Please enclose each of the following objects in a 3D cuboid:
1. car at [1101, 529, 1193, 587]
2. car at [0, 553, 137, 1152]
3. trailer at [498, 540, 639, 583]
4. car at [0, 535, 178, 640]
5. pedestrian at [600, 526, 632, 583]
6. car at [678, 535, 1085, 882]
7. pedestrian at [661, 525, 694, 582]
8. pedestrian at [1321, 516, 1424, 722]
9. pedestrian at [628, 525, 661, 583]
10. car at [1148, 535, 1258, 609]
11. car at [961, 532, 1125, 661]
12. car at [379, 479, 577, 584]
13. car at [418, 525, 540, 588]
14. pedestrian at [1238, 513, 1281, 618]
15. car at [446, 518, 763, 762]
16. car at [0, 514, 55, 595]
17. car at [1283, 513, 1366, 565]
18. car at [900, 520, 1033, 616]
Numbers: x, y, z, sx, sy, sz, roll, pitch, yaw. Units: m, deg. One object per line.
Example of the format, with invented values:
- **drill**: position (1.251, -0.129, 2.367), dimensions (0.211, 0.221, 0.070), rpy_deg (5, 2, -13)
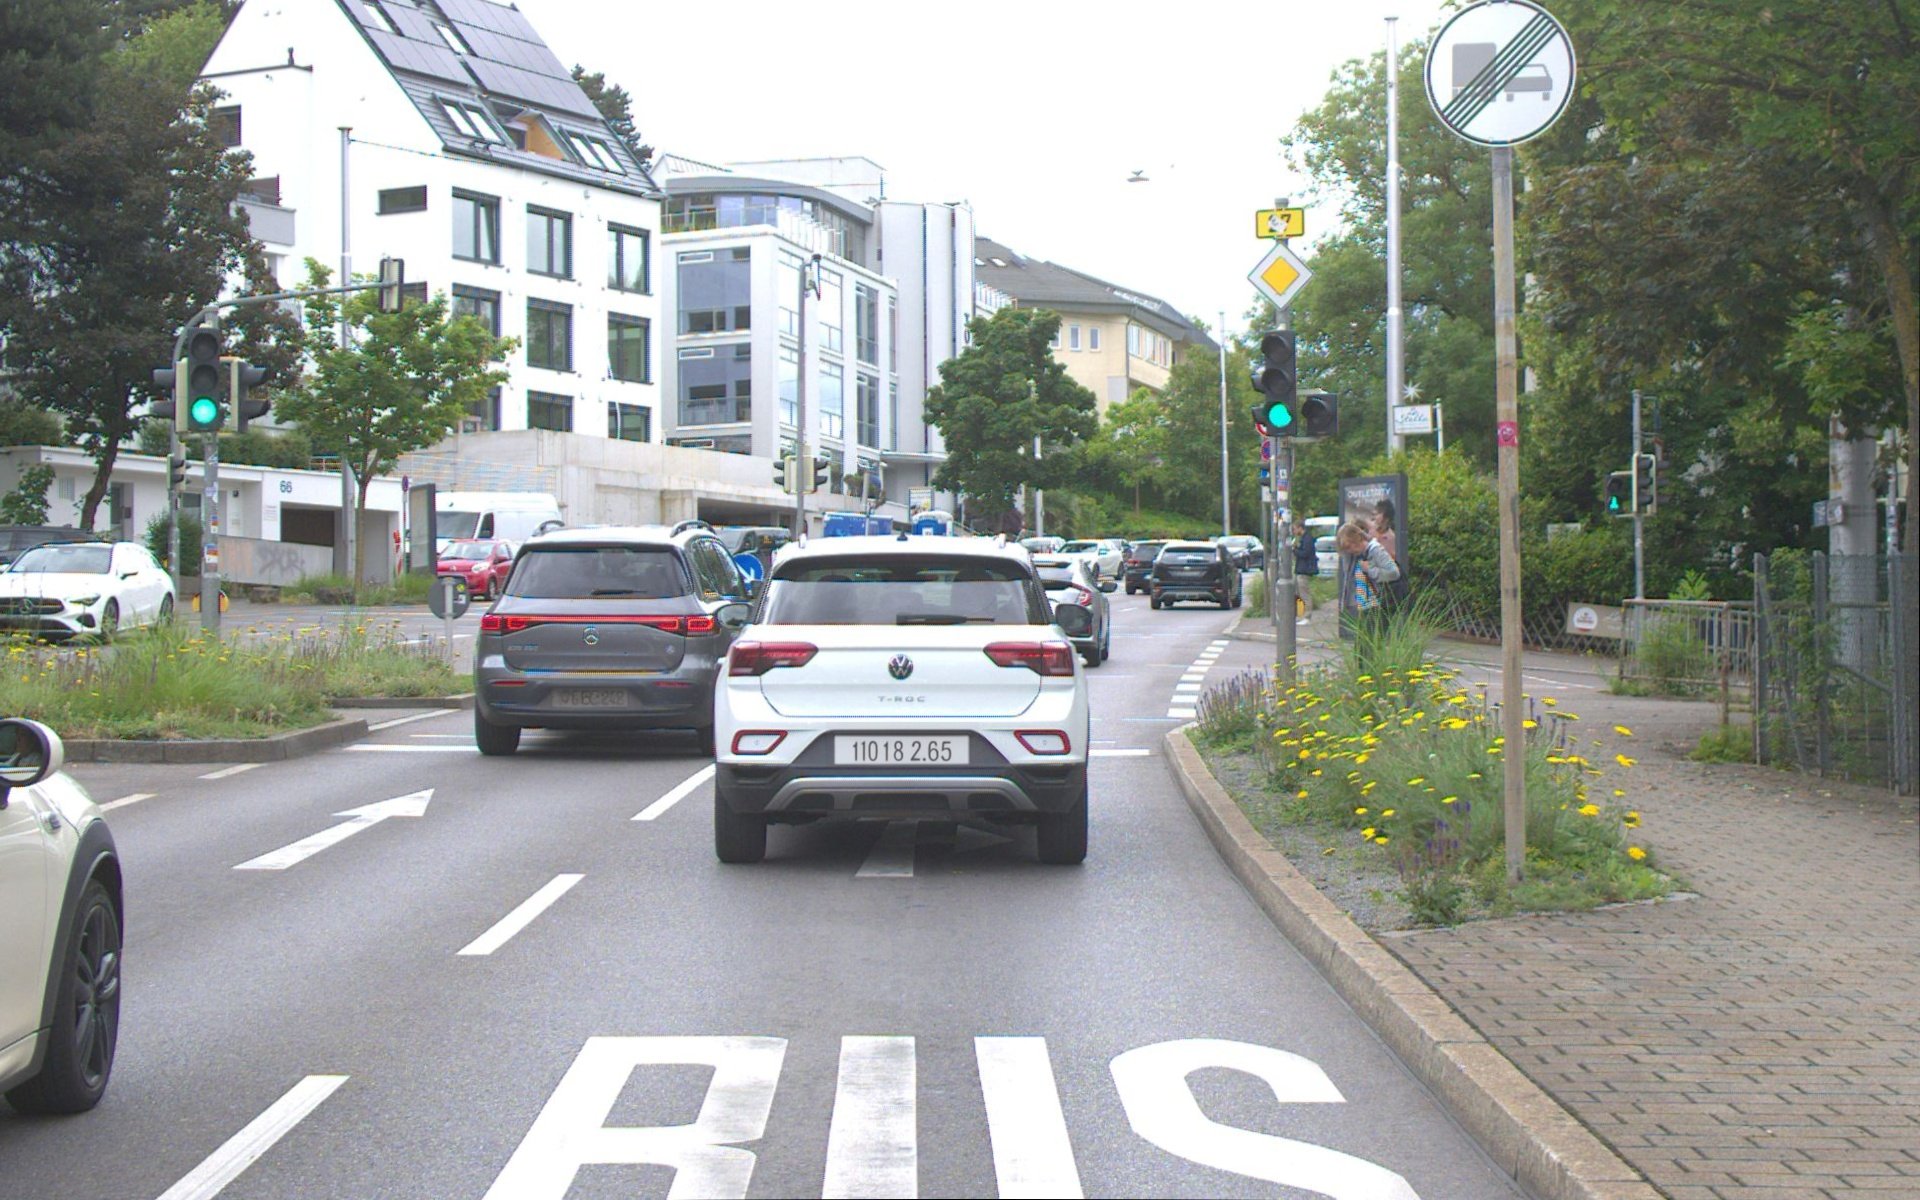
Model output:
- **car**: position (5.041, -1.143, 92.097), dimensions (1.859, 1.495, 4.054), rpy_deg (0, 1, 12)
- **car**: position (-3.057, 0.611, 7.597), dimensions (1.628, 1.388, 3.566), rpy_deg (-1, 1, 0)
- **trailer**: position (-10.627, -1.063, 93.627), dimensions (2.248, 1.108, 4.619), rpy_deg (0, 1, 15)
- **car**: position (-12.312, -0.209, 47.931), dimensions (1.717, 1.388, 4.609), rpy_deg (0, 1, 1)
- **pedestrian**: position (-9.982, -1.330, 99.713), dimensions (0.626, 1.634, 0.671), rpy_deg (3, 1, 22)
- **car**: position (-0.416, 0.450, 17.281), dimensions (1.811, 1.534, 3.690), rpy_deg (-1, 1, -2)
- **pedestrian**: position (-8.393, -1.383, 102.200), dimensions (0.674, 1.634, 0.672), rpy_deg (1, 2, -33)
- **pedestrian**: position (3.416, 0.158, 28.447), dimensions (0.694, 1.683, 0.619), rpy_deg (-1, 0, 21)
- **pedestrian**: position (-9.160, -1.337, 99.859), dimensions (0.674, 1.634, 0.672), rpy_deg (1, 2, -33)
- **car**: position (5.463, -0.625, 76.880), dimensions (1.874, 1.496, 4.553), rpy_deg (3, 1, 11)
- **car**: position (1.130, -0.080, 44.674), dimensions (1.873, 1.496, 4.554), rpy_deg (3, 1, 4)
- **car**: position (-12.218, -1.748, 87.816), dimensions (2.233, 2.559, 7.417), rpy_deg (0, 1, 15)
- **car**: position (-11.277, -1.037, 80.848), dimensions (1.622, 1.460, 3.925), rpy_deg (0, 1, 11)
- **pedestrian**: position (5.268, -0.612, 60.492), dimensions (0.693, 1.827, 0.620), rpy_deg (2, 1, 7)
- **car**: position (-2.559, 0.226, 25.795), dimensions (1.813, 1.646, 4.636), rpy_deg (-1, 1, 1)
- **car**: position (-19.363, -0.865, 65.334), dimensions (4.118, 1.534, 1.599), rpy_deg (0, 1, -12)
- **car**: position (10.761, -1.808, 101.256), dimensions (1.859, 1.495, 4.053), rpy_deg (0, 1, 15)
- **car**: position (0.157, -0.608, 61.805), dimensions (1.858, 1.646, 4.635), rpy_deg (-1, 1, 7)
